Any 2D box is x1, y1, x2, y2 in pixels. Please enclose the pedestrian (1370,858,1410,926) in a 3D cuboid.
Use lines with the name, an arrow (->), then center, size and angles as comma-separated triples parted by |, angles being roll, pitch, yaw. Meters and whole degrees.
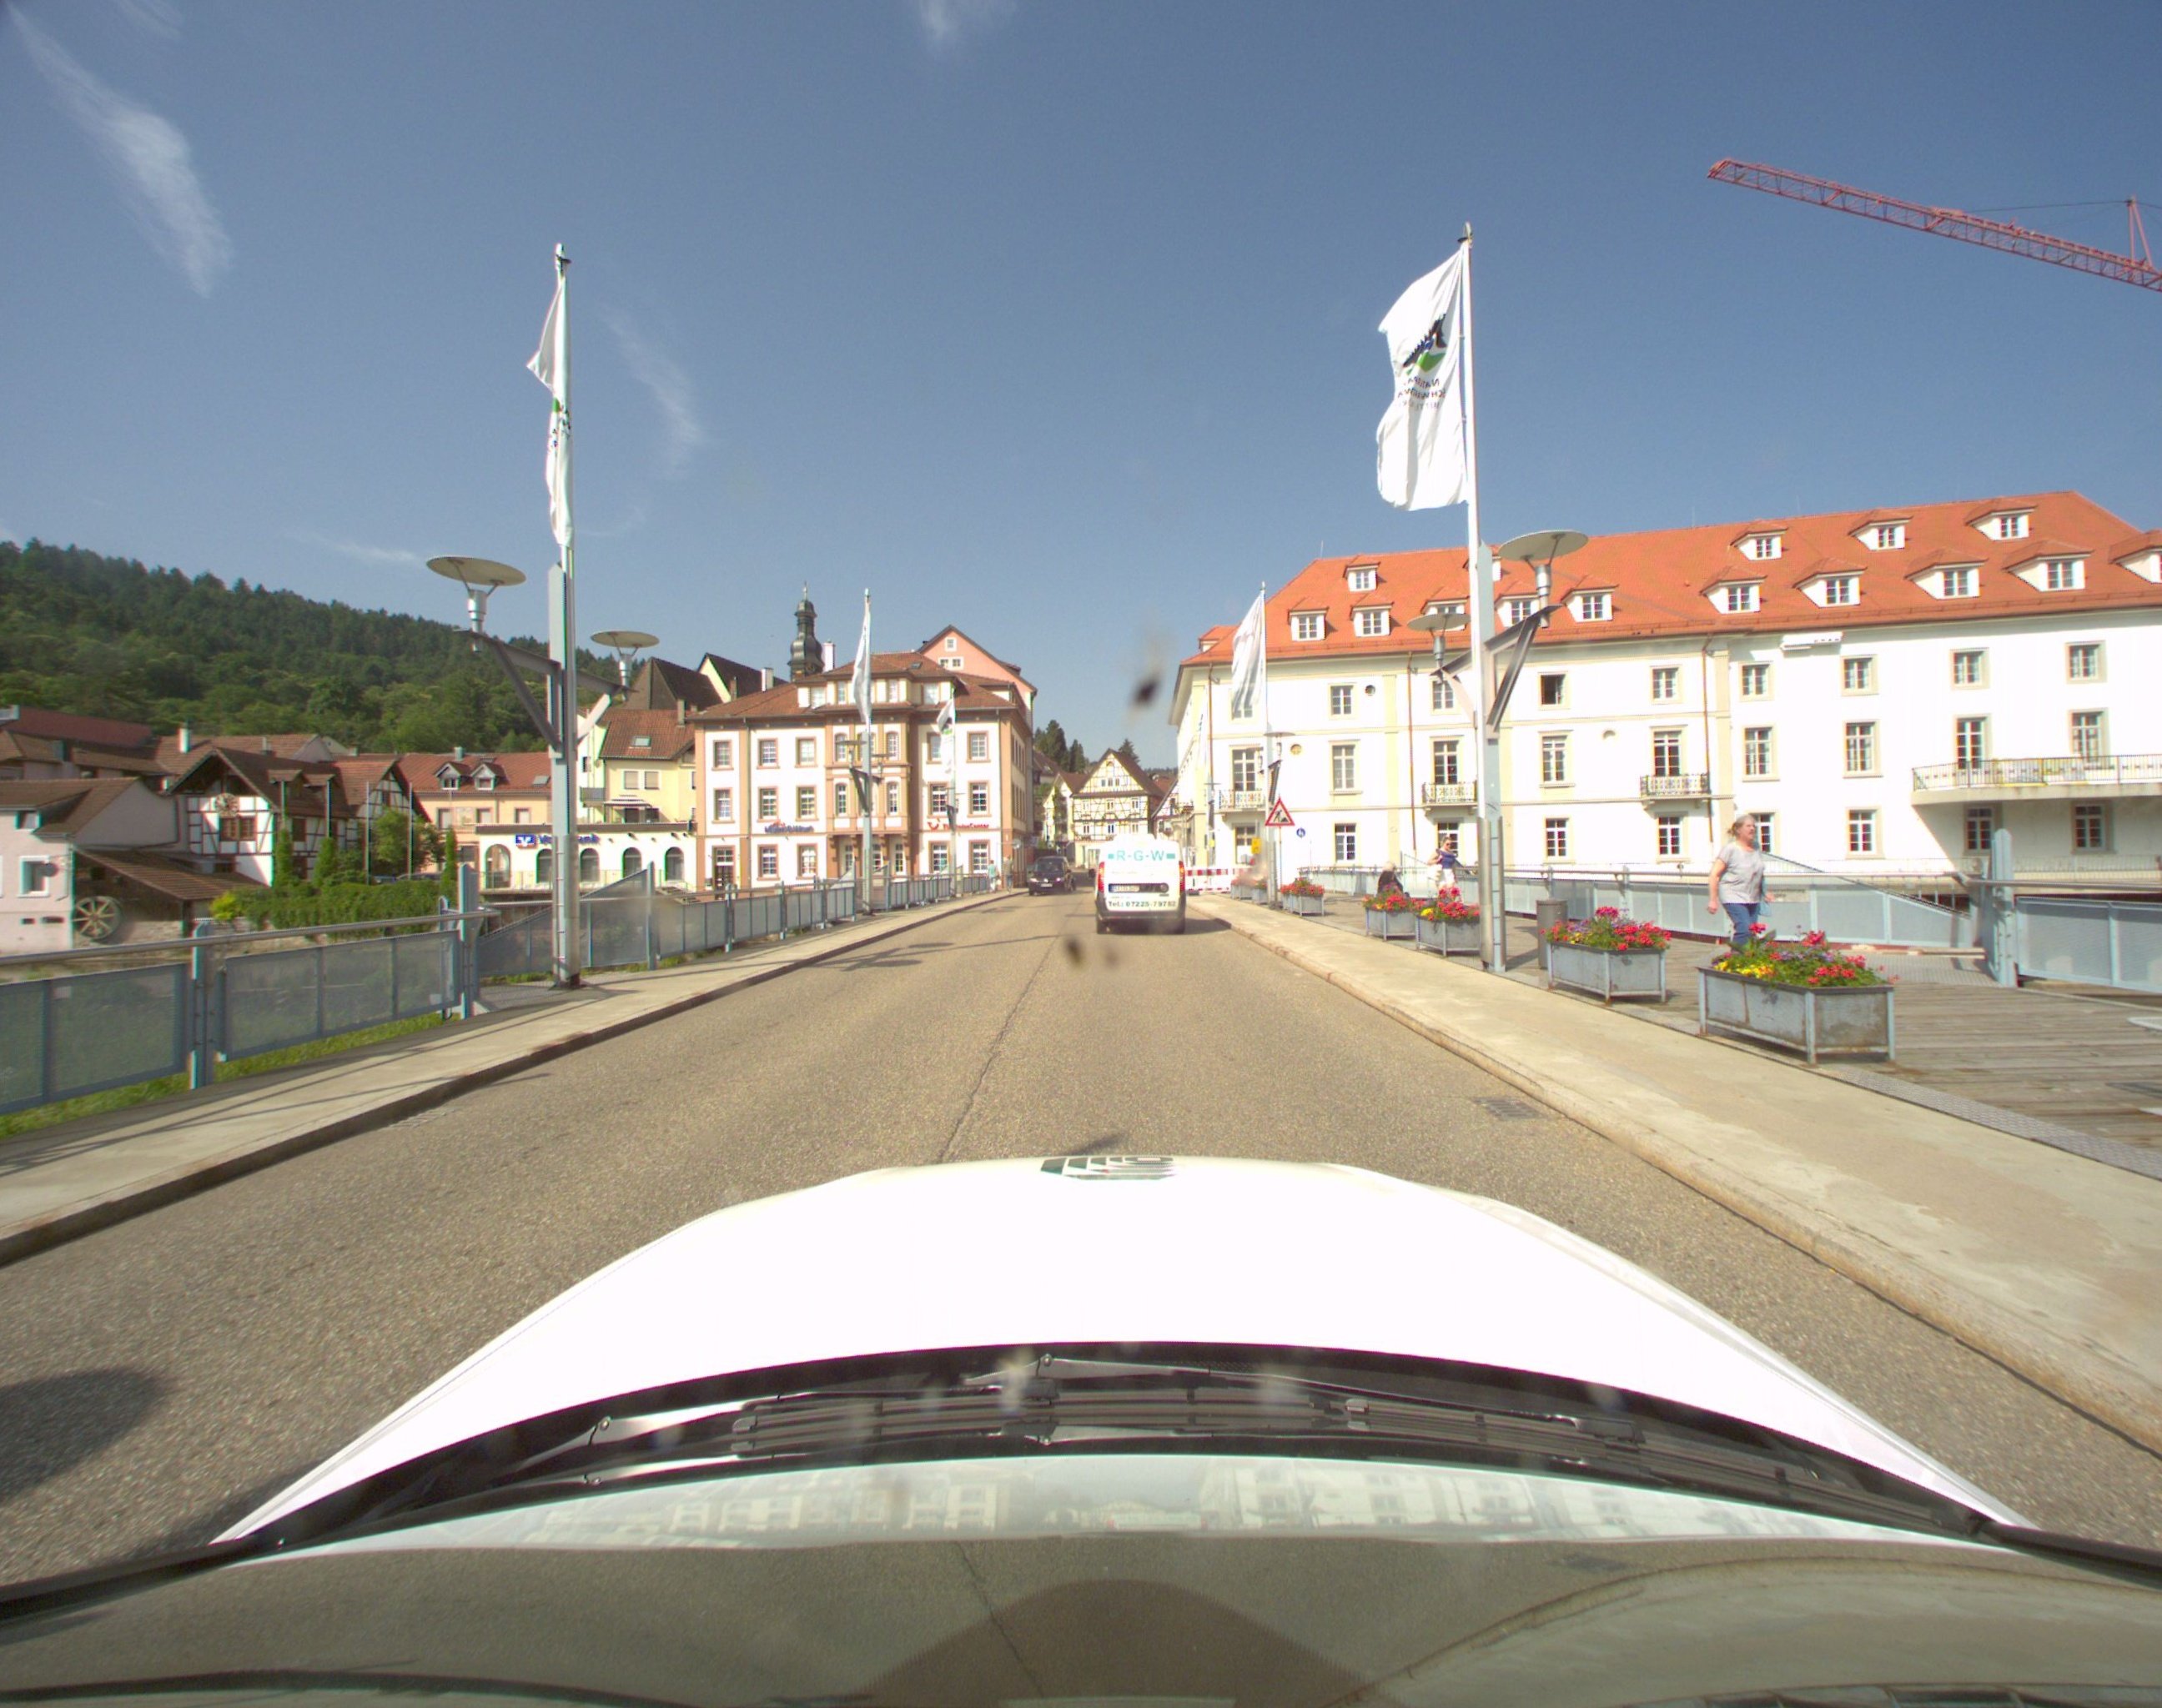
pedestrian -> 5.834, 0.713, 15.385 | 0.451, 1.244, 0.625 | -1, -1, -4

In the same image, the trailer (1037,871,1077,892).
trailer -> -1.221, 1.428, 43.337 | 1.743, 1.022, 4.188 | -2, -2, 3

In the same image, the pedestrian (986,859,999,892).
pedestrian -> -4.280, 1.027, 39.495 | 0.582, 1.609, 0.537 | 0, 0, 0

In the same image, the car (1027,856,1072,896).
car -> -1.438, 0.986, 38.852 | 1.770, 1.792, 4.699 | 0, 0, 2

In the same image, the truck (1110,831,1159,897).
truck -> 2.187, 0.416, 34.322 | 1.855, 2.585, 4.261 | 0, -1, 1

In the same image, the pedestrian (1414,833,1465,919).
pedestrian -> 7.410, 0.442, 16.853 | 0.723, 1.723, 0.747 | -1, 0, 0

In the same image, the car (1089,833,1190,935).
car -> 1.119, 0.595, 17.484 | 1.838, 1.906, 4.313 | 0, -1, 0

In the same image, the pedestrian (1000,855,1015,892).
pedestrian -> -3.531, 0.939, 39.193 | 0.612, 1.762, 0.864 | 0, 0, 0

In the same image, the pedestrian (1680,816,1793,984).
pedestrian -> 6.542, 0.447, 8.148 | 0.663, 1.618, 0.563 | -1, 0, 1
